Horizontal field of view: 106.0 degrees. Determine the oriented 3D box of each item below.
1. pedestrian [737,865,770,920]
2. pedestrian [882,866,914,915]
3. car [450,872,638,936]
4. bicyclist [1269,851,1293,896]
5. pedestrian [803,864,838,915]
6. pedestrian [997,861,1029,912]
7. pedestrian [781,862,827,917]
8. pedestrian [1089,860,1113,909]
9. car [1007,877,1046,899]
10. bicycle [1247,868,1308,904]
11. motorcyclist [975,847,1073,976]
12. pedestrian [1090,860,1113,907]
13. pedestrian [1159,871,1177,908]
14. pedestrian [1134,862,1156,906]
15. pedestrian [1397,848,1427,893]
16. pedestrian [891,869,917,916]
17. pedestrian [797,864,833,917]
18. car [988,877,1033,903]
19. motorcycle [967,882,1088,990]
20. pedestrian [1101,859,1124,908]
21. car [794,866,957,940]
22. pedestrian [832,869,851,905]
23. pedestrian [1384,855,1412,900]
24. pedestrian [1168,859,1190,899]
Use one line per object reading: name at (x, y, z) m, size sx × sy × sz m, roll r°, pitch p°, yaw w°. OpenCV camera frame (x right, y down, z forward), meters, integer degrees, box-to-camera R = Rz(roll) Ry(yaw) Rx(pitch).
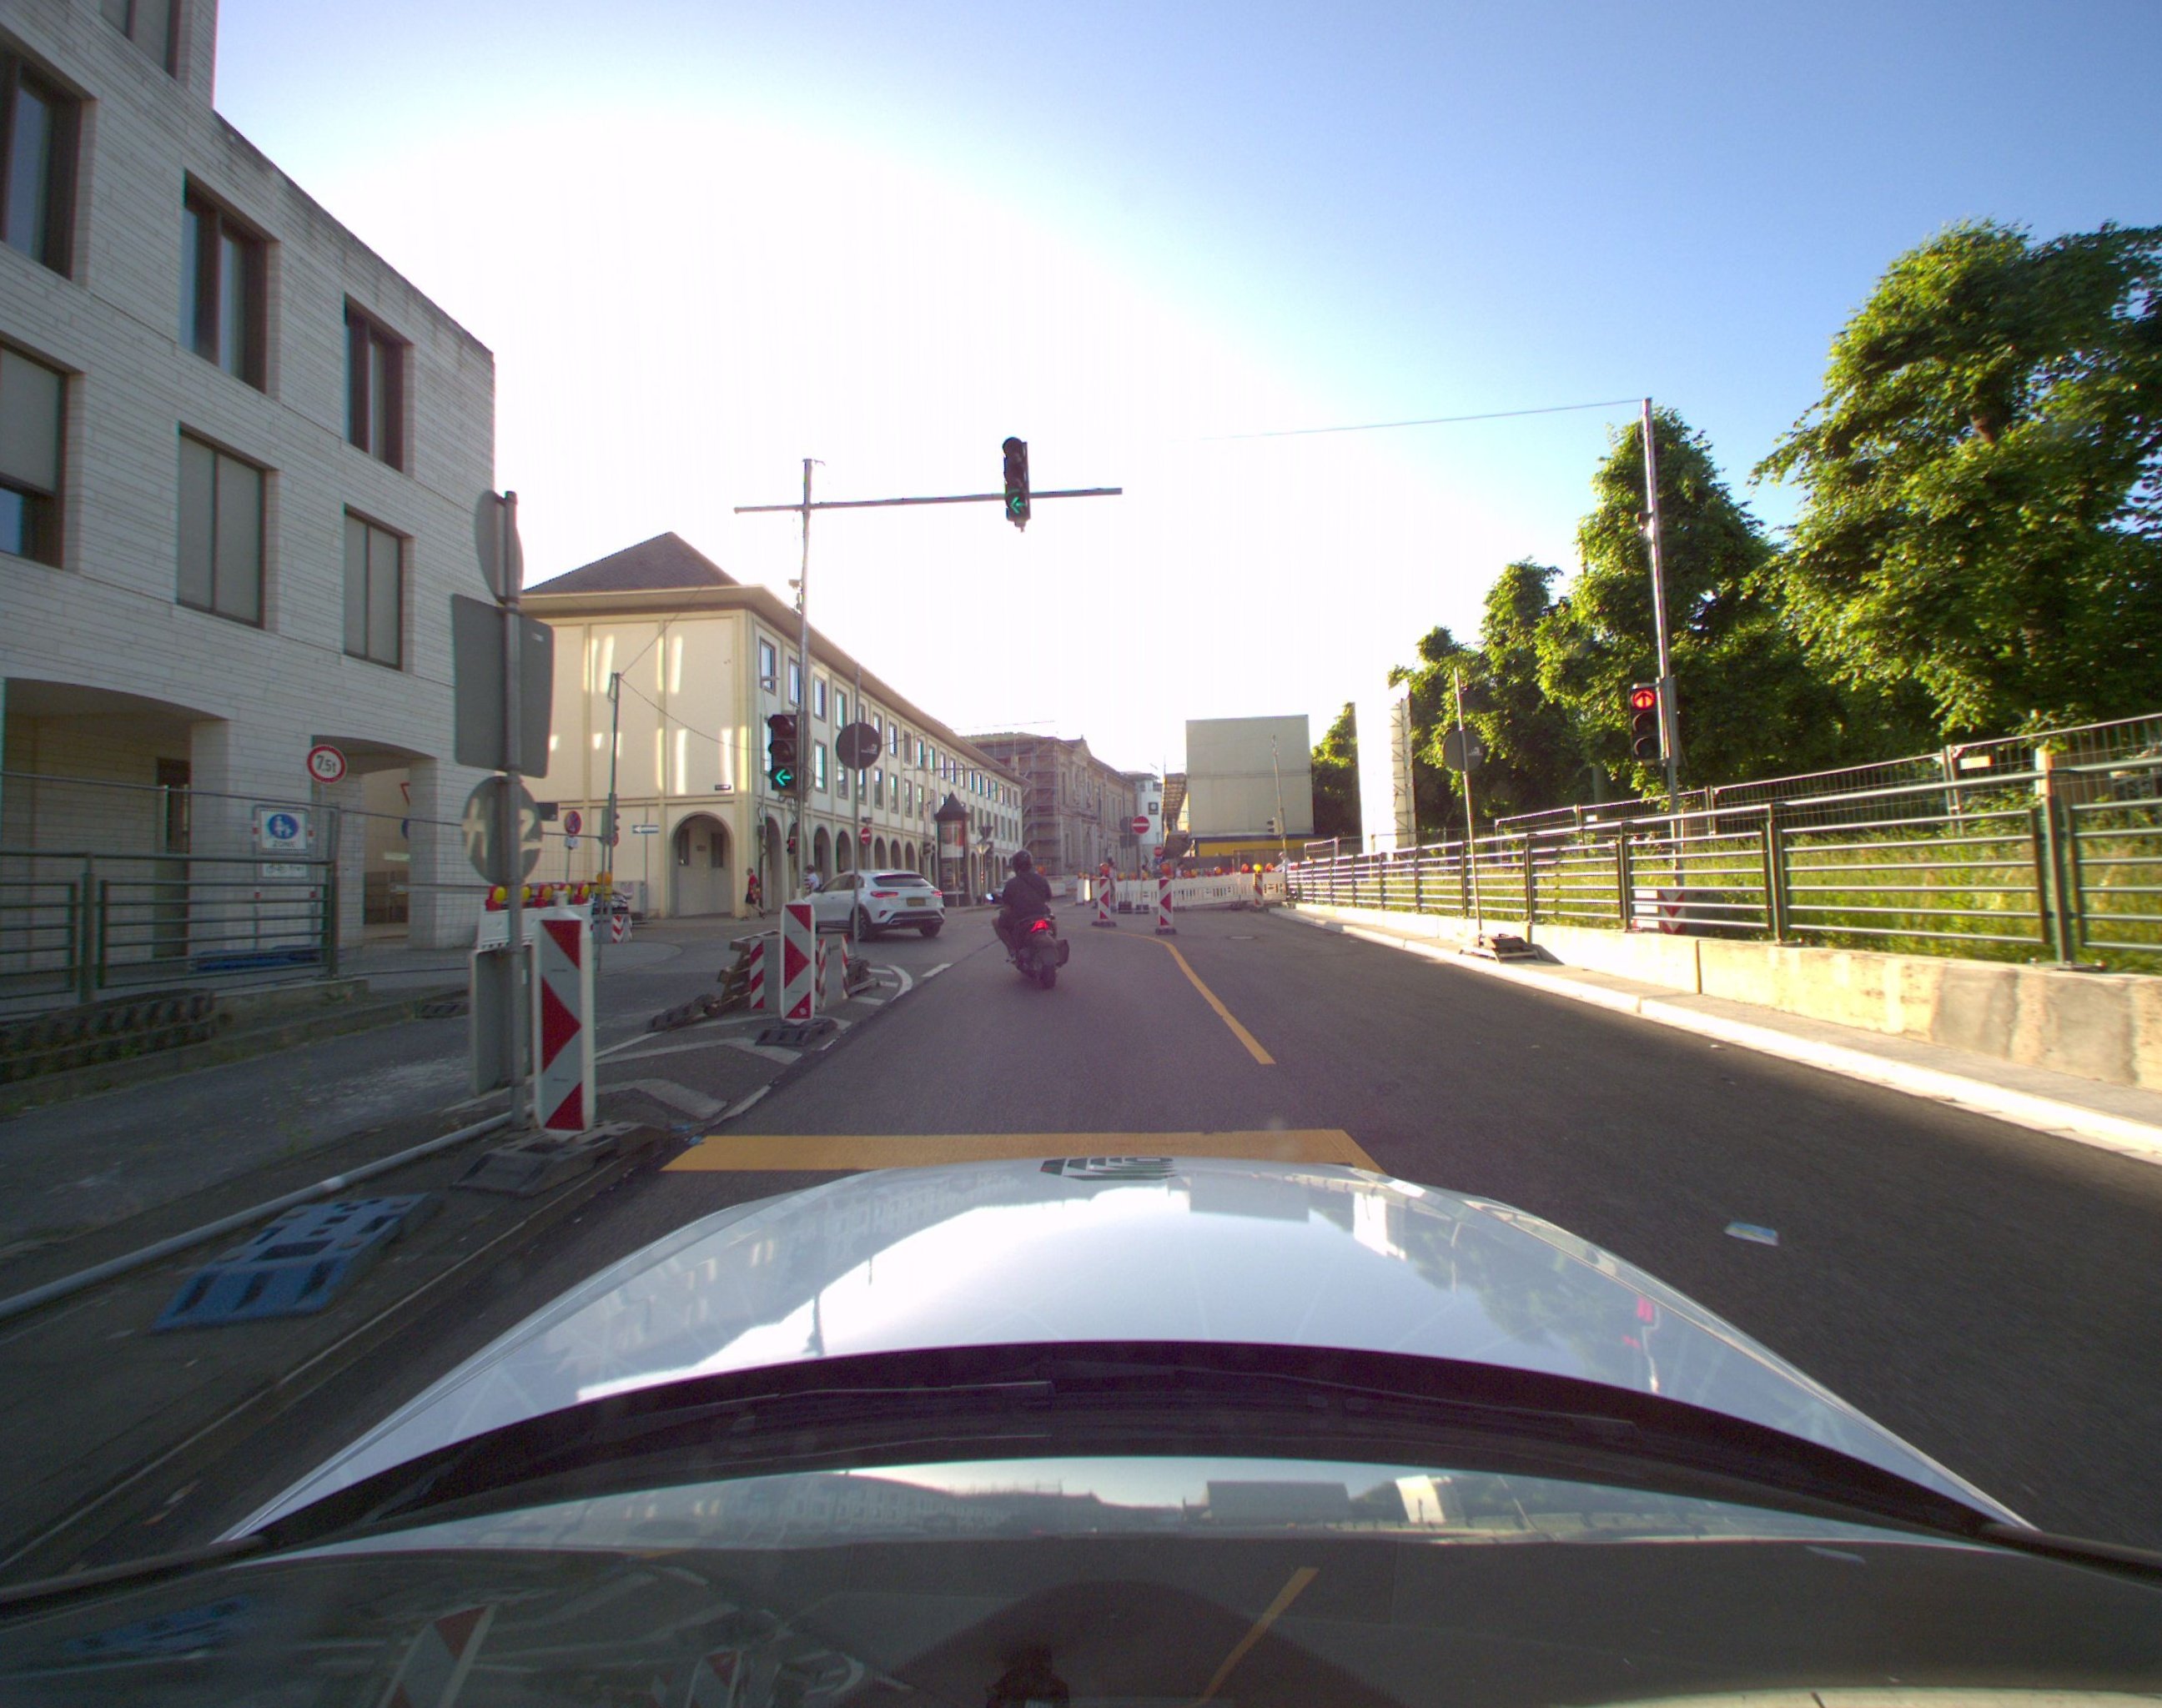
pedestrian at (-11.204, 1.308, 27.867) m, size 0.770 × 1.801 × 0.712 m, roll -2°, pitch 1°, yaw 2°
pedestrian at (-6.674, 1.314, 29.688) m, size 0.961 × 1.709 × 0.676 m, roll -1°, pitch 1°, yaw 2°
car at (-14.609, 1.342, 22.267) m, size 4.070 × 1.550 × 1.784 m, roll -2°, pitch -1°, yaw 8°
bicyclist at (6.931, 0.680, 28.233) m, size 0.698 × 1.516 × 0.687 m, roll -2°, pitch -2°, yaw 7°
pedestrian at (-9.372, 1.262, 29.288) m, size 0.934 × 1.777 × 0.712 m, roll -2°, pitch 1°, yaw 2°
pedestrian at (-2.404, 1.165, 28.911) m, size 0.970 × 1.729 × 0.799 m, roll -3°, pitch -2°, yaw 2°
pedestrian at (-9.449, 1.199, 27.833) m, size 1.238 × 1.801 × 0.717 m, roll -2°, pitch 1°, yaw 2°
pedestrian at (0.731, 1.112, 29.820) m, size 0.733 × 1.716 × 0.623 m, roll -3°, pitch -2°, yaw 6°
car at (-3.714, 2.379, 55.981) m, size 1.914 × 1.467 × 4.007 m, roll -1°, pitch -3°, yaw 7°
bicycle at (6.801, 1.105, 28.275) m, size 1.983 × 1.201 × 0.477 m, roll -2°, pitch -2°, yaw 5°
motorcyclist at (-0.775, 0.715, 10.751) m, size 0.957 × 1.559 × 1.230 m, roll -1°, pitch -1°, yaw -20°
pedestrian at (0.784, 1.135, 31.639) m, size 0.733 × 1.771 × 0.724 m, roll -3°, pitch -2°, yaw 6°
pedestrian at (3.079, 1.256, 28.845) m, size 0.615 × 1.300 × 0.494 m, roll 0°, pitch -1°, yaw 5°
pedestrian at (2.469, 1.128, 31.189) m, size 0.764 × 1.618 × 0.667 m, roll -2°, pitch 1°, yaw 6°
pedestrian at (11.943, 0.604, 29.399) m, size 0.749 × 1.566 × 0.657 m, roll -2°, pitch -2°, yaw -44°
pedestrian at (-6.281, 1.366, 28.953) m, size 0.722 × 1.624 × 0.620 m, roll -1°, pitch 1°, yaw 2°
pedestrian at (-9.298, 1.275, 28.531) m, size 0.934 × 1.777 × 0.712 m, roll -2°, pitch 1°, yaw 2°
car at (-4.234, 2.220, 49.538) m, size 1.914 × 1.467 × 4.007 m, roll -1°, pitch -3°, yaw 7°
motorcycle at (-0.785, 0.995, 10.796) m, size 0.909 × 1.183 × 2.561 m, roll -2°, pitch -1°, yaw -20°
pedestrian at (1.192, 1.105, 30.540) m, size 0.733 × 1.771 × 0.623 m, roll -3°, pitch -2°, yaw 6°
car at (-4.685, 1.041, 18.249) m, size 1.875 × 1.472 × 3.951 m, roll 1°, pitch -2°, yaw -43°
pedestrian at (-12.418, 1.712, 42.191) m, size 0.637 × 1.840 × 0.728 m, roll -1°, pitch 1°, yaw 6°
pedestrian at (11.644, 0.856, 29.963) m, size 0.733 × 1.604 × 0.644 m, roll -3°, pitch -2°, yaw 6°
pedestrian at (3.743, 0.938, 31.131) m, size 0.764 × 1.462 × 0.667 m, roll -3°, pitch -2°, yaw 6°
